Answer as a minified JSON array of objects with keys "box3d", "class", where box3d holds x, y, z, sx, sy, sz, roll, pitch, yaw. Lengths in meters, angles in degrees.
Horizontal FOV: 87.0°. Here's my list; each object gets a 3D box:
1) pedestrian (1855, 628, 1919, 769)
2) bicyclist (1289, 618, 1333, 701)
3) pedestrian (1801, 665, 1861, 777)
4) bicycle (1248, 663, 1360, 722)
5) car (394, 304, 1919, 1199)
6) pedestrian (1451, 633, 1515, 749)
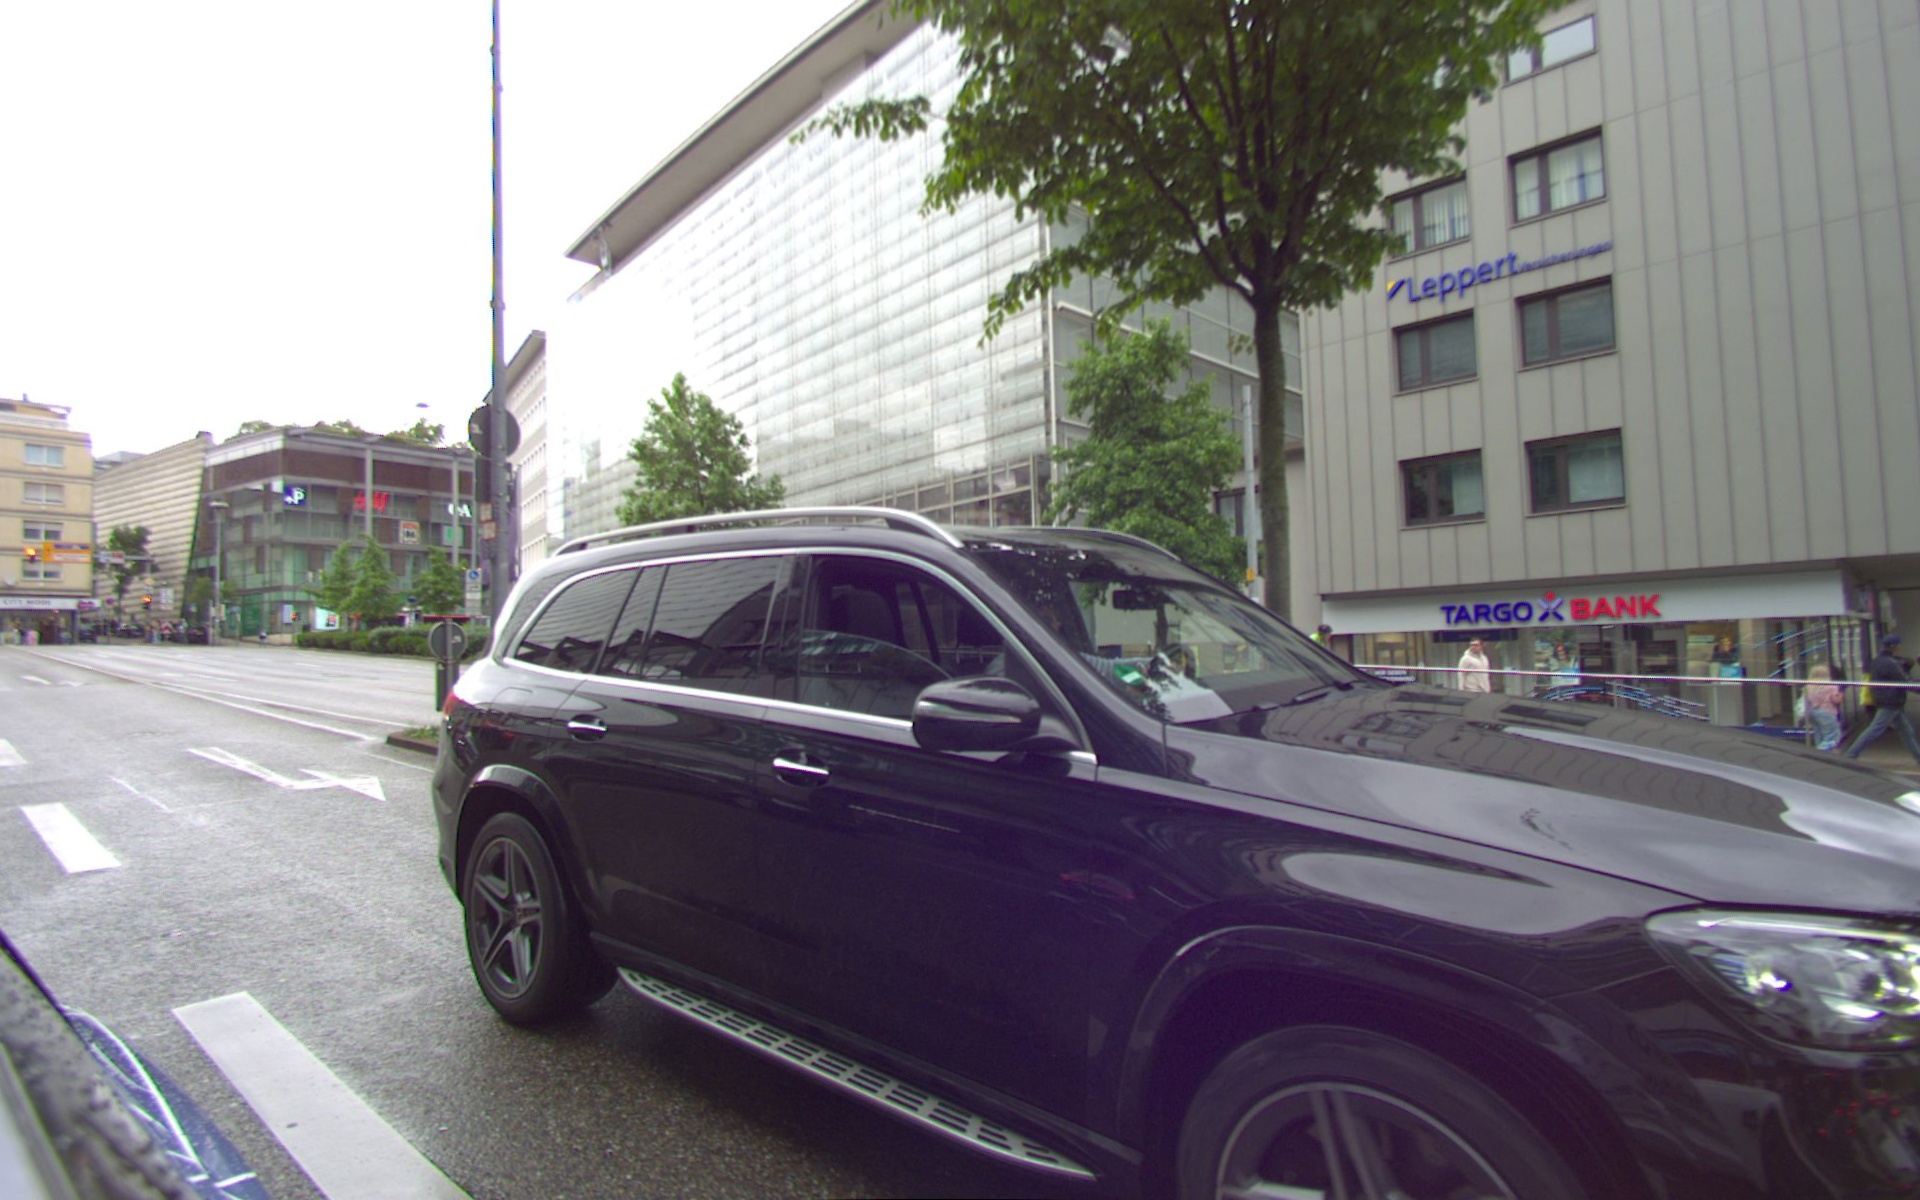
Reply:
[{"box3d":[11.918,1.216,12.704,0.963,1.693,0.700,0,0,38],"class":"pedestrian"},{"box3d":[6.677,1.126,19.233,0.609,1.542,0.625,-1,-3,40],"class":"bicyclist"},{"box3d":[14.130,1.935,16.413,0.709,1.693,0.740,0,0,43],"class":"pedestrian"},{"box3d":[6.535,1.729,19.278,1.938,1.008,0.609,-1,-3,38],"class":"bicycle"},{"box3d":[0.134,0.605,3.278,5.071,1.884,1.891,0,0,42],"class":"car"},{"box3d":[8.474,1.455,16.410,0.543,1.797,0.752,0,0,-37],"class":"pedestrian"}]
